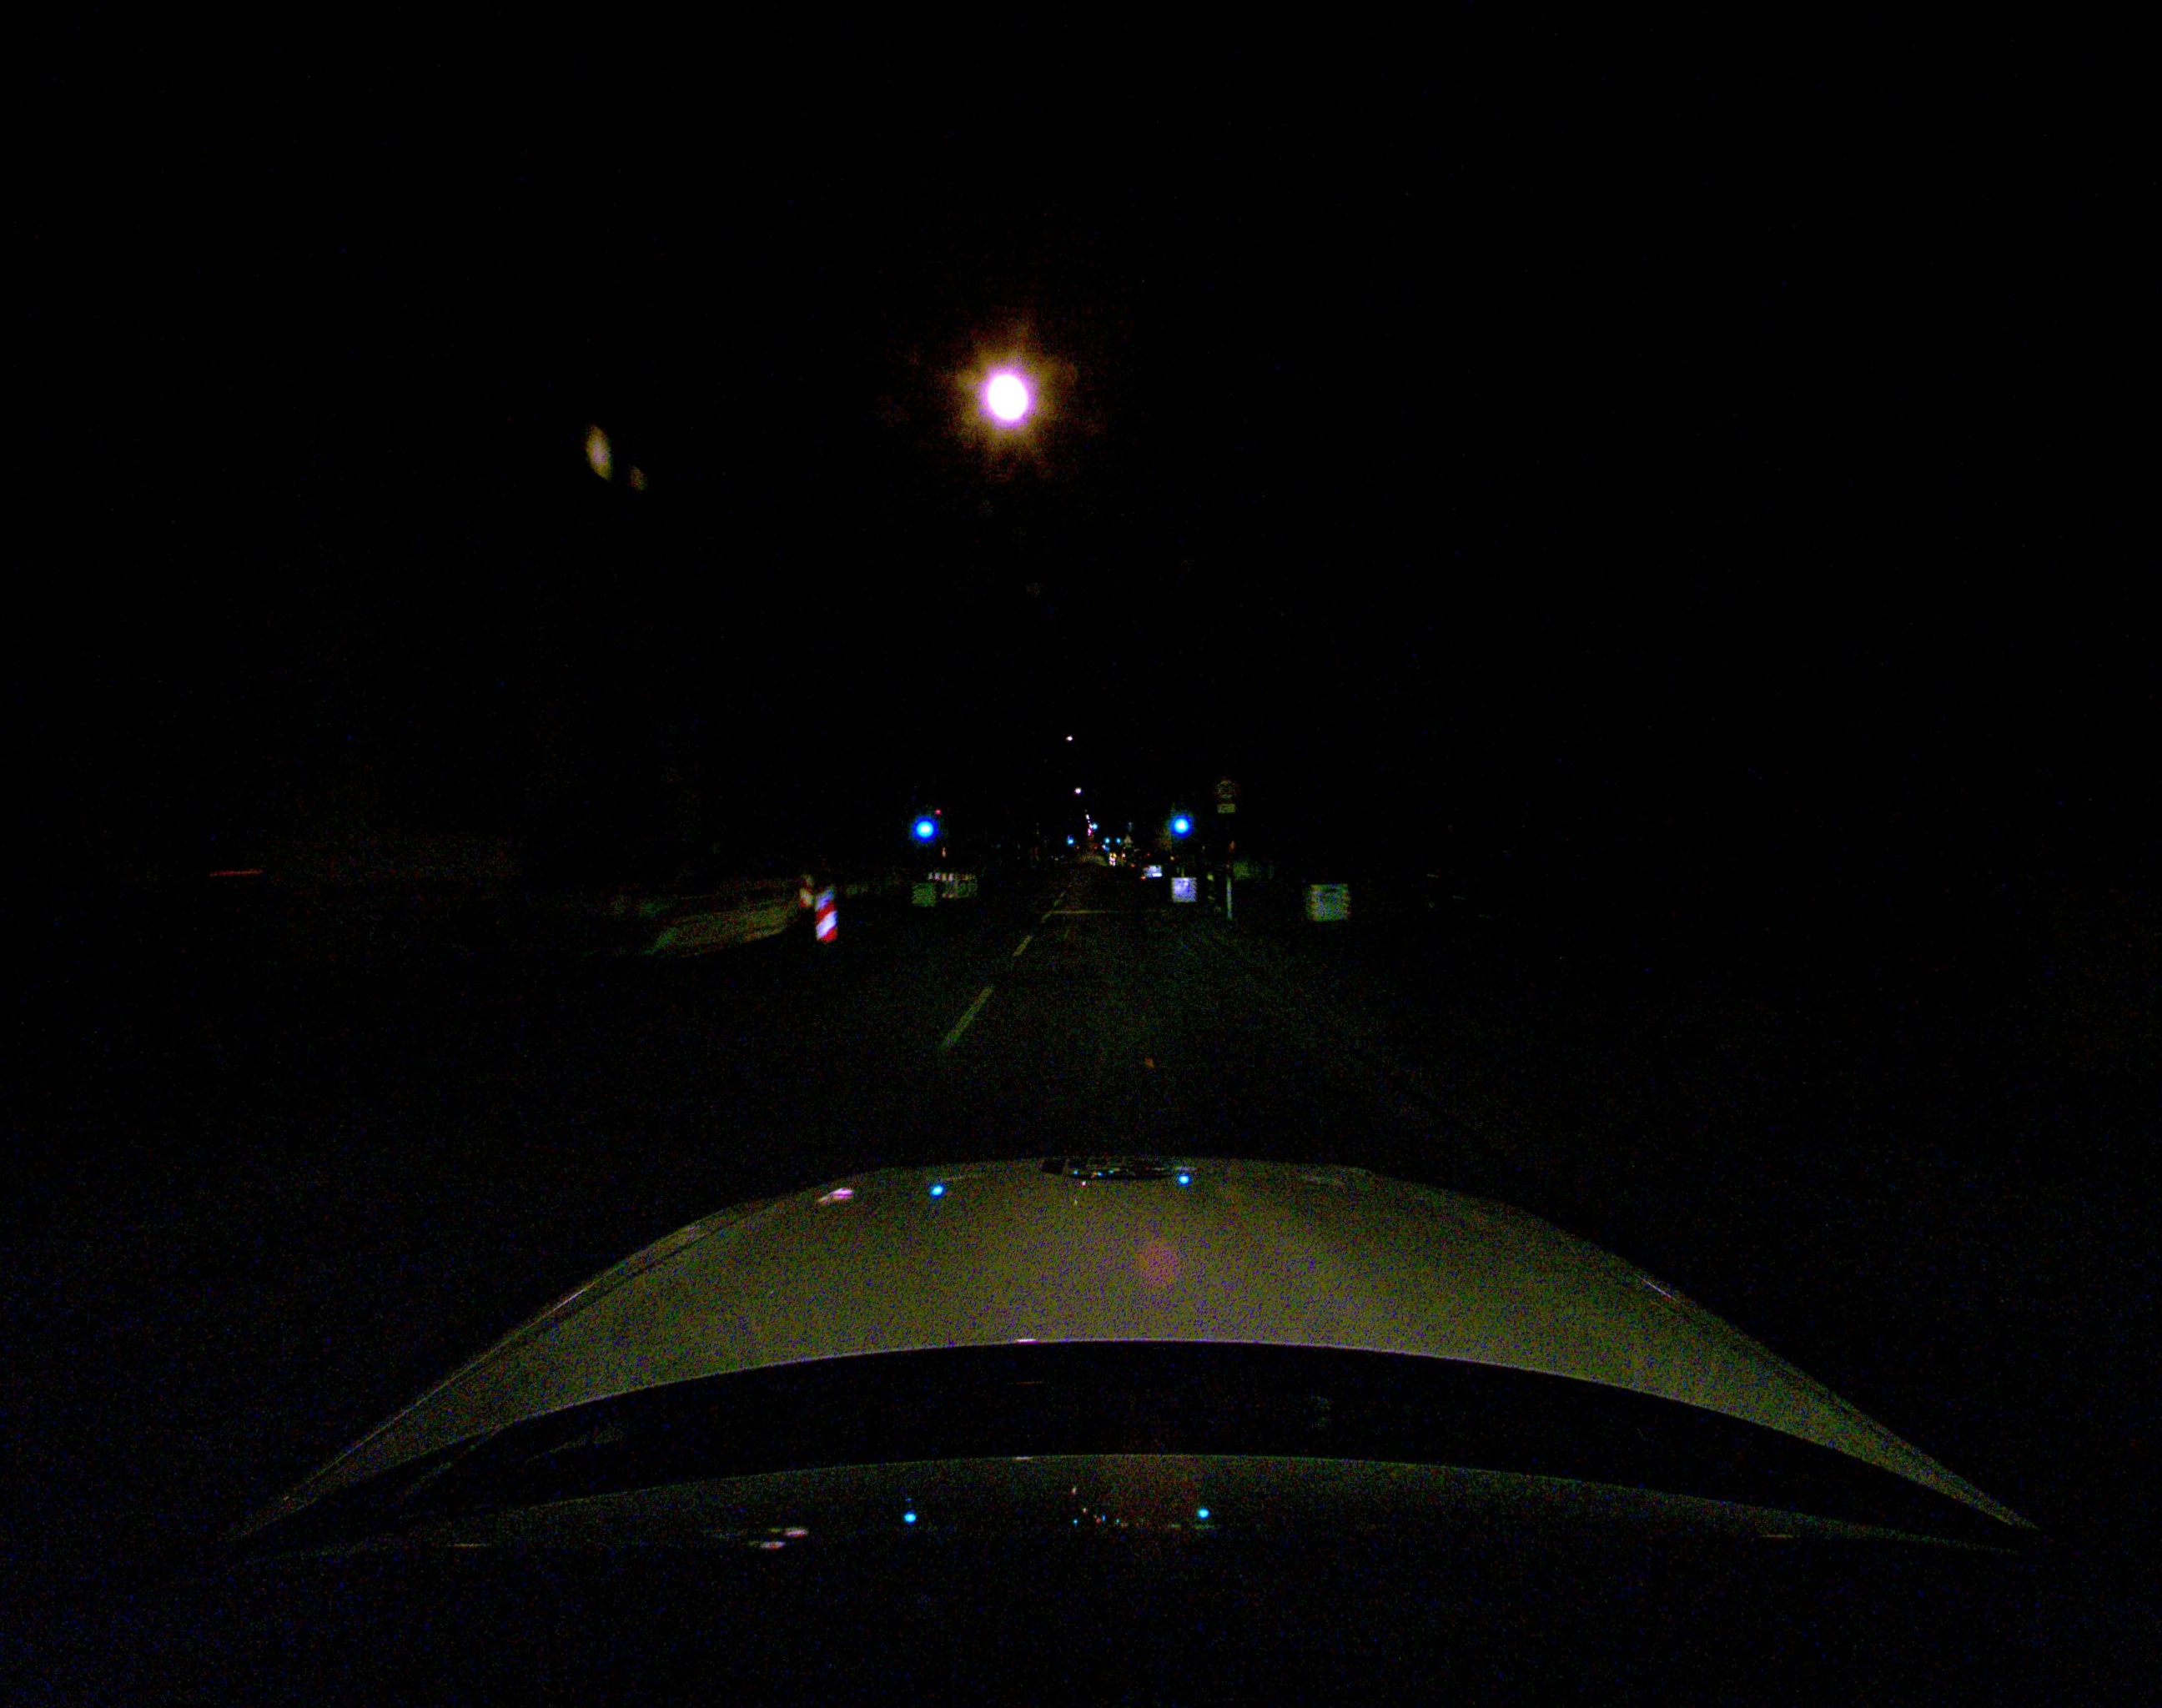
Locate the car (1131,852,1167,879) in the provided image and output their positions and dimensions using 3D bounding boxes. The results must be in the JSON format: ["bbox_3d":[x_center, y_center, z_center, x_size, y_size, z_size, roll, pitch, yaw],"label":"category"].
[{"bbox_3d":[3.788,0.609,45.839,1.680,1.421,4.444,-2,0,1],"label":"car"}]

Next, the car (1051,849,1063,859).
[{"bbox_3d":[-3.493,0.023,119.388,1.665,1.443,4.205,-1,1,1],"label":"car"}]

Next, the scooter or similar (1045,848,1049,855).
[{"bbox_3d":[-6.009,-0.500,145.250,0.526,1.165,2.507,-2,-1,0],"label":"scooter or similar"}]

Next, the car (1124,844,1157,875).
[{"bbox_3d":[3.750,0.321,52.197,1.730,1.855,4.315,-1,0,-1],"label":"car"}]

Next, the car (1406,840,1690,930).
[{"bbox_3d":[8.174,0.540,14.530,4.002,1.422,1.851,-1,-2,-1],"label":"car"}]

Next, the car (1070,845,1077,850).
[{"bbox_3d":[-2.072,-1.836,228.871,1.867,1.544,4.205,-1,1,1],"label":"car"}]

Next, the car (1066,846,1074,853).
[{"bbox_3d":[-2.604,-1.113,191.454,1.867,1.544,4.205,-1,1,1],"label":"car"}]

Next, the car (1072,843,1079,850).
[{"bbox_3d":[-1.657,-2.164,234.789,1.867,1.814,4.205,0,1,1],"label":"car"}]

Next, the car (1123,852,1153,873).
[{"bbox_3d":[3.947,0.570,57.202,1.723,1.419,4.321,-1,0,-2],"label":"car"}]

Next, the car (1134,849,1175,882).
[{"bbox_3d":[3.667,0.548,40.986,1.733,1.477,4.001,-3,0,1],"label":"car"}]

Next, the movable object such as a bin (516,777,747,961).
[{"bbox_3d":[-7.309,0.214,13.733,1.565,2.626,3.911,-2,0,2],"label":"movable object such as a bin"}]

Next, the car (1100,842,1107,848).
[{"bbox_3d":[6.660,-2.718,241.781,1.867,1.544,4.205,-1,1,1],"label":"car"}]

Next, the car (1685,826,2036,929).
[{"bbox_3d":[12.816,0.360,13.570,4.181,1.467,1.850,-2,0,-3],"label":"car"}]

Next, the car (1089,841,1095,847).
[{"bbox_3d":[3.441,-3.206,254.544,1.866,1.814,4.207,-1,1,2],"label":"car"}]
